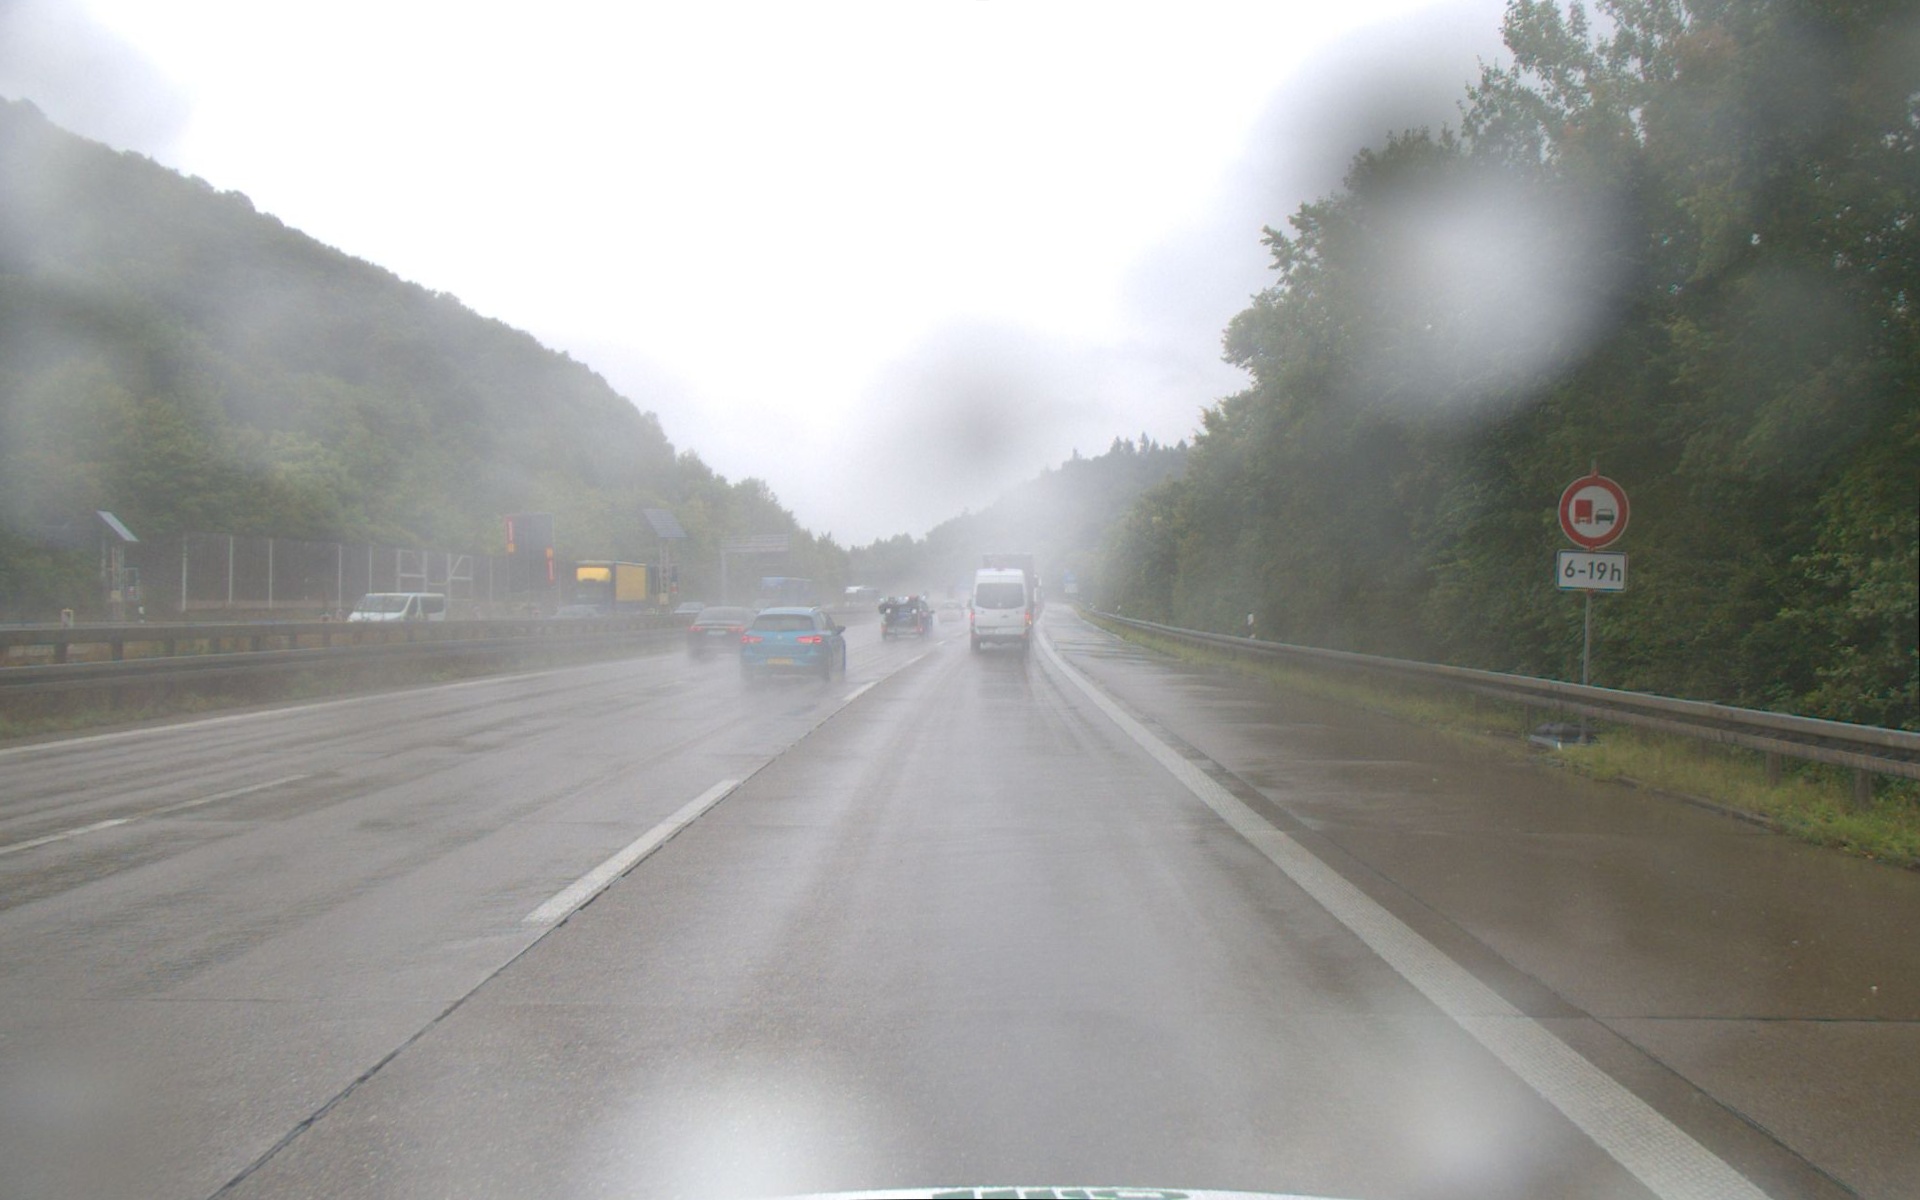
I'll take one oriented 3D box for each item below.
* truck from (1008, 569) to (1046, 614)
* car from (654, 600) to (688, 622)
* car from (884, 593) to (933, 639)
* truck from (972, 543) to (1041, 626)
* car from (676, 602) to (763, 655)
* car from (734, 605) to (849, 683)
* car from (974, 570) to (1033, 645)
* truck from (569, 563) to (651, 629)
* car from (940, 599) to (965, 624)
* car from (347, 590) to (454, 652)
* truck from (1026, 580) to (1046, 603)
[{"bbox_3d":[6.246,-0.725,152.902,3.025,3.978,9.059,1,0,5],"label":"truck"},{"bbox_3d":[-22.578,0.822,129.450,1.953,1.691,4.000,0,0,0],"label":"car"},{"bbox_3d":[-2.129,0.642,69.342,1.830,1.841,4.189,0,0,1],"label":"car"},{"bbox_3d":[2.479,-0.914,86.881,3.315,4.037,8.671,-2,2,2],"label":"truck"},{"bbox_3d":[-6.664,0.764,46.186,1.818,1.362,4.351,0,0,-1],"label":"car"},{"bbox_3d":[-3.214,0.805,32.212,1.818,1.362,4.351,0,0,-1],"label":"car"},{"bbox_3d":[1.457,0.226,55.298,1.860,2.374,5.251,0,0,1],"label":"car"},{"bbox_3d":[-20.905,-0.268,99.365,2.531,3.765,9.802,0,0,2],"label":"truck"},{"bbox_3d":[-0.475,0.765,111.954,1.581,1.656,4.189,0,0,1],"label":"car"},{"bbox_3d":[-19.583,0.724,58.134,1.936,2.049,5.198,1,0,0],"label":"car"},{"bbox_3d":[10.531,-1.160,228.508,2.532,3.033,9.027,0,0,1],"label":"truck"}]
